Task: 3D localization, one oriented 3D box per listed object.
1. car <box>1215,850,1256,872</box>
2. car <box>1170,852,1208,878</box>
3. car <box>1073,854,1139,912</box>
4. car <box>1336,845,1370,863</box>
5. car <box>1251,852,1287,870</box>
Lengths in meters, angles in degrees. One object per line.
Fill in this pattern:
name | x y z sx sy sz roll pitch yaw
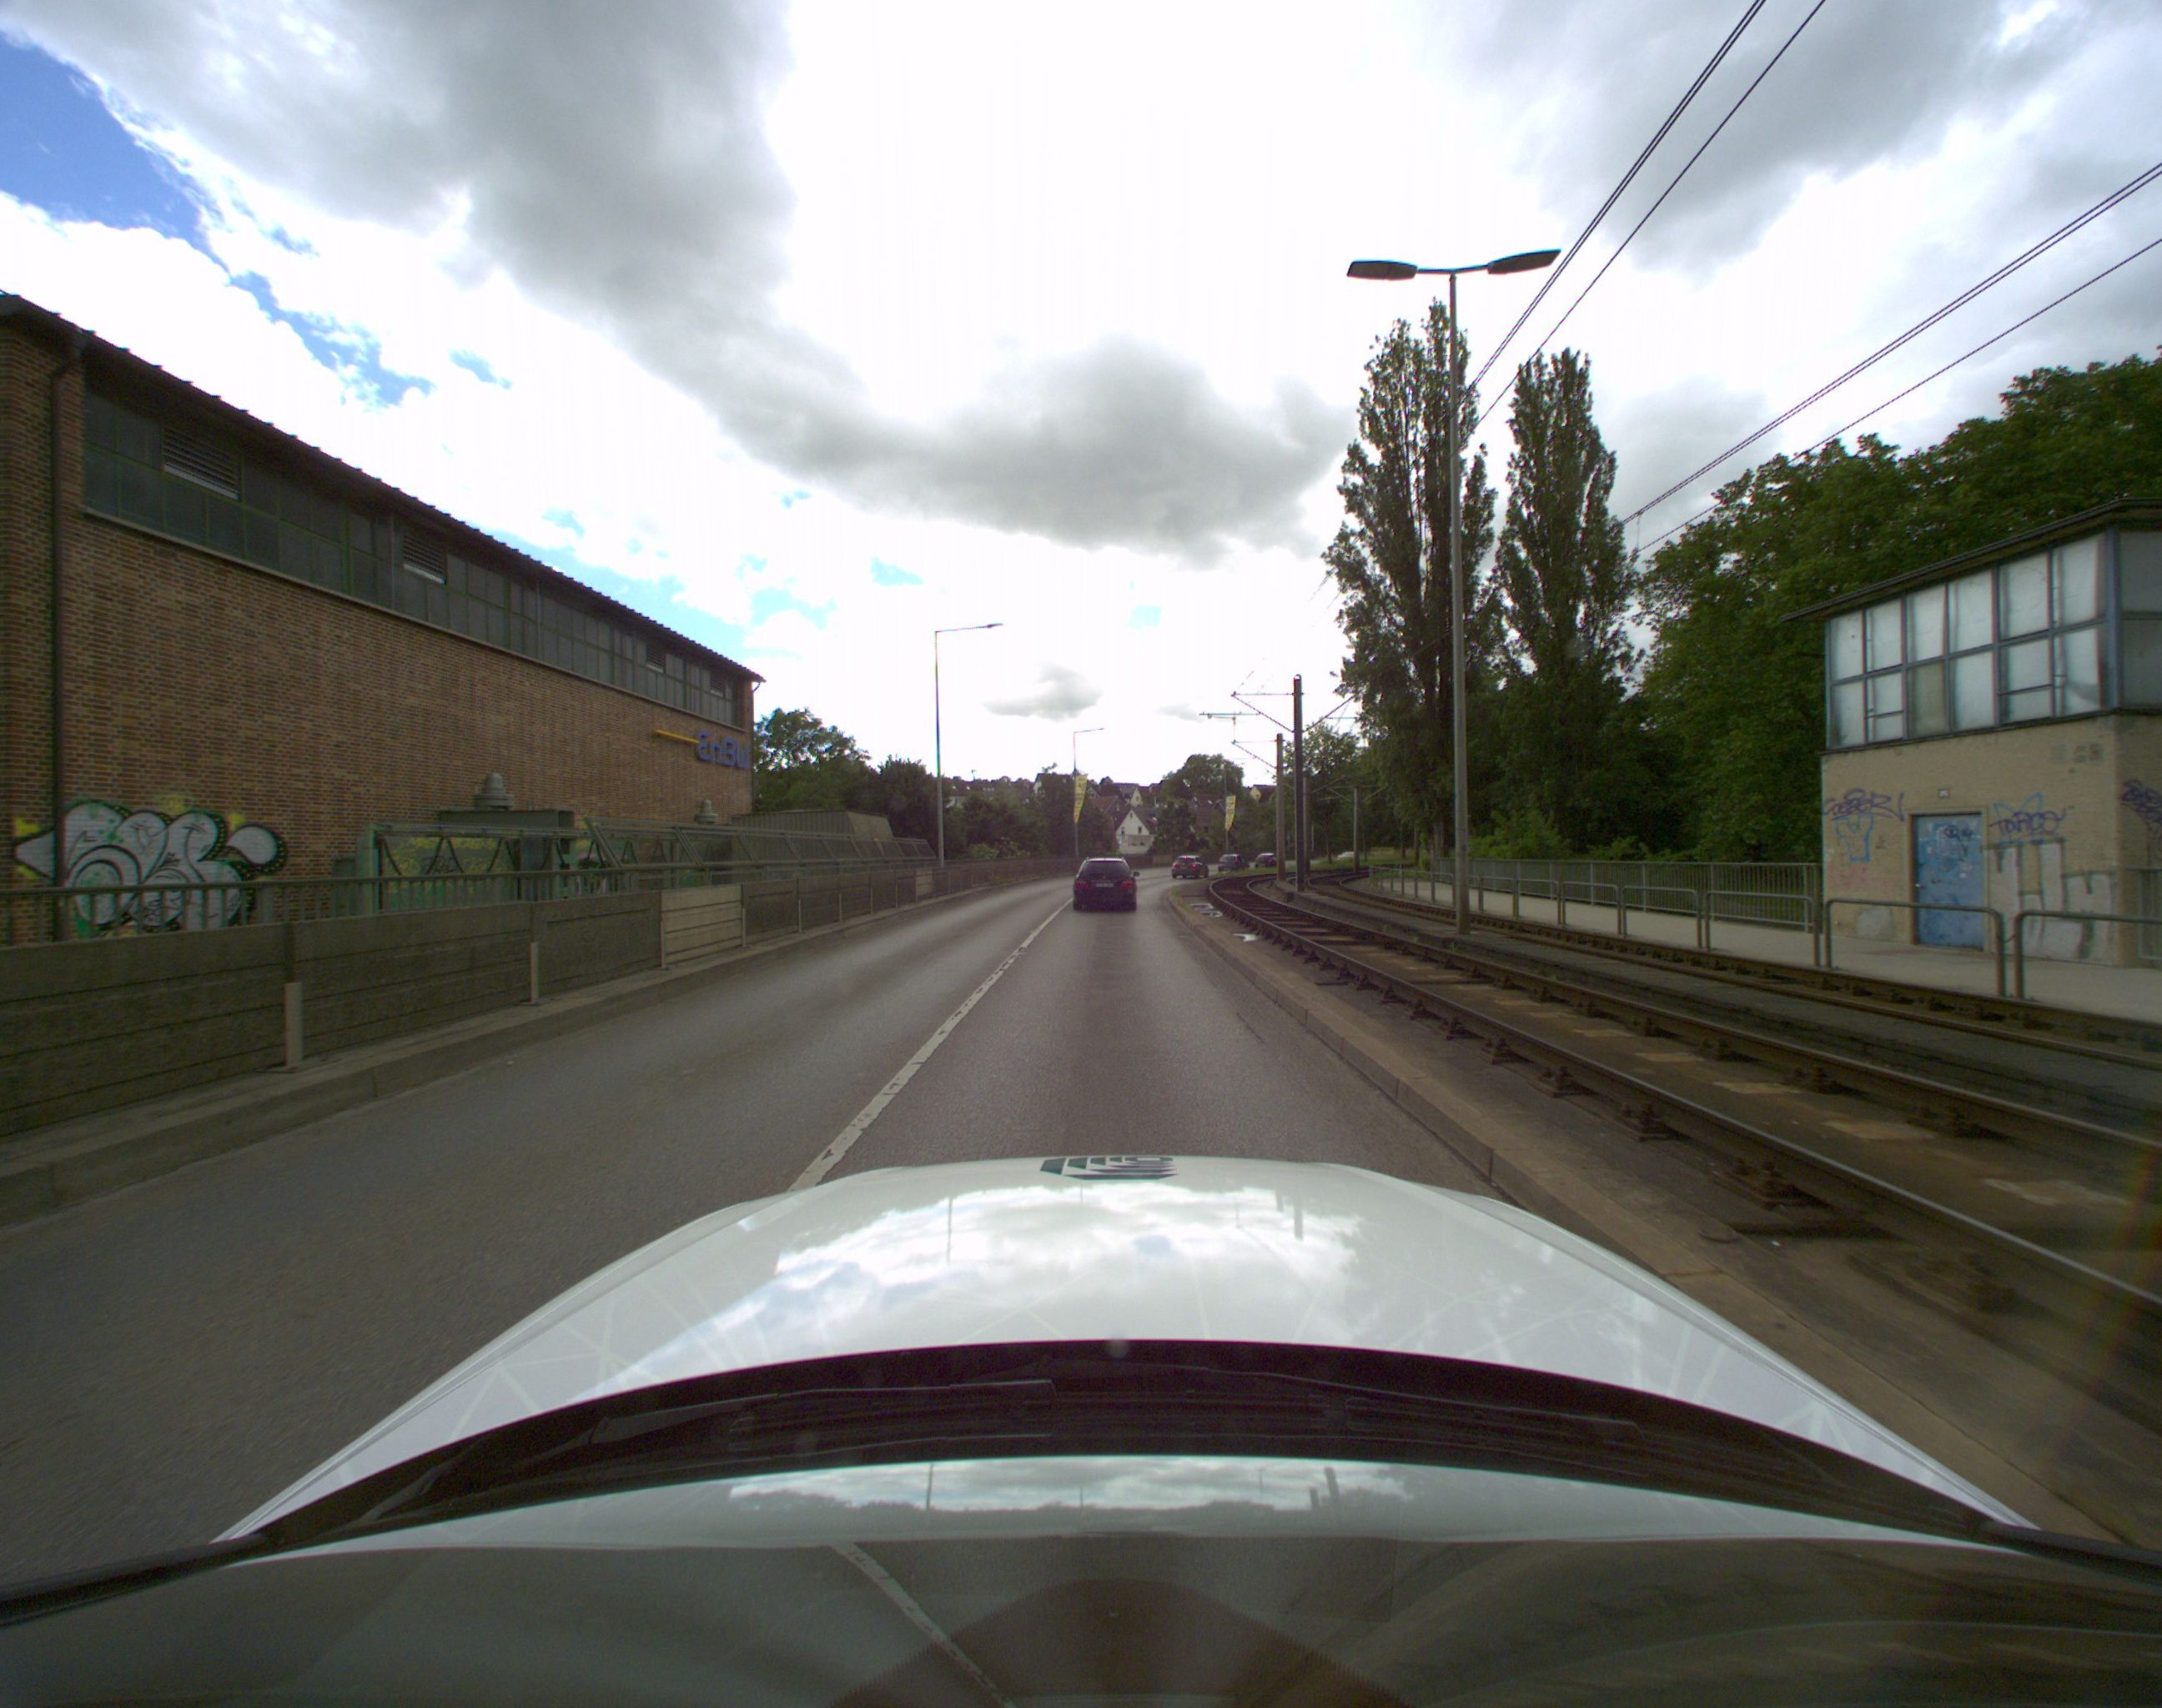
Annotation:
car | 12.340 0.538 64.836 1.775 1.555 4.413 -2 0 30
car | 7.389 0.717 55.289 1.756 1.555 4.260 -2 1 18
car | 0.711 0.790 24.161 1.753 1.515 4.443 1 0 1
car | 28.764 0.023 86.049 4.012 1.711 1.781 -4 1 -44
car | 16.512 0.598 71.396 1.753 1.555 4.267 -1 0 32
